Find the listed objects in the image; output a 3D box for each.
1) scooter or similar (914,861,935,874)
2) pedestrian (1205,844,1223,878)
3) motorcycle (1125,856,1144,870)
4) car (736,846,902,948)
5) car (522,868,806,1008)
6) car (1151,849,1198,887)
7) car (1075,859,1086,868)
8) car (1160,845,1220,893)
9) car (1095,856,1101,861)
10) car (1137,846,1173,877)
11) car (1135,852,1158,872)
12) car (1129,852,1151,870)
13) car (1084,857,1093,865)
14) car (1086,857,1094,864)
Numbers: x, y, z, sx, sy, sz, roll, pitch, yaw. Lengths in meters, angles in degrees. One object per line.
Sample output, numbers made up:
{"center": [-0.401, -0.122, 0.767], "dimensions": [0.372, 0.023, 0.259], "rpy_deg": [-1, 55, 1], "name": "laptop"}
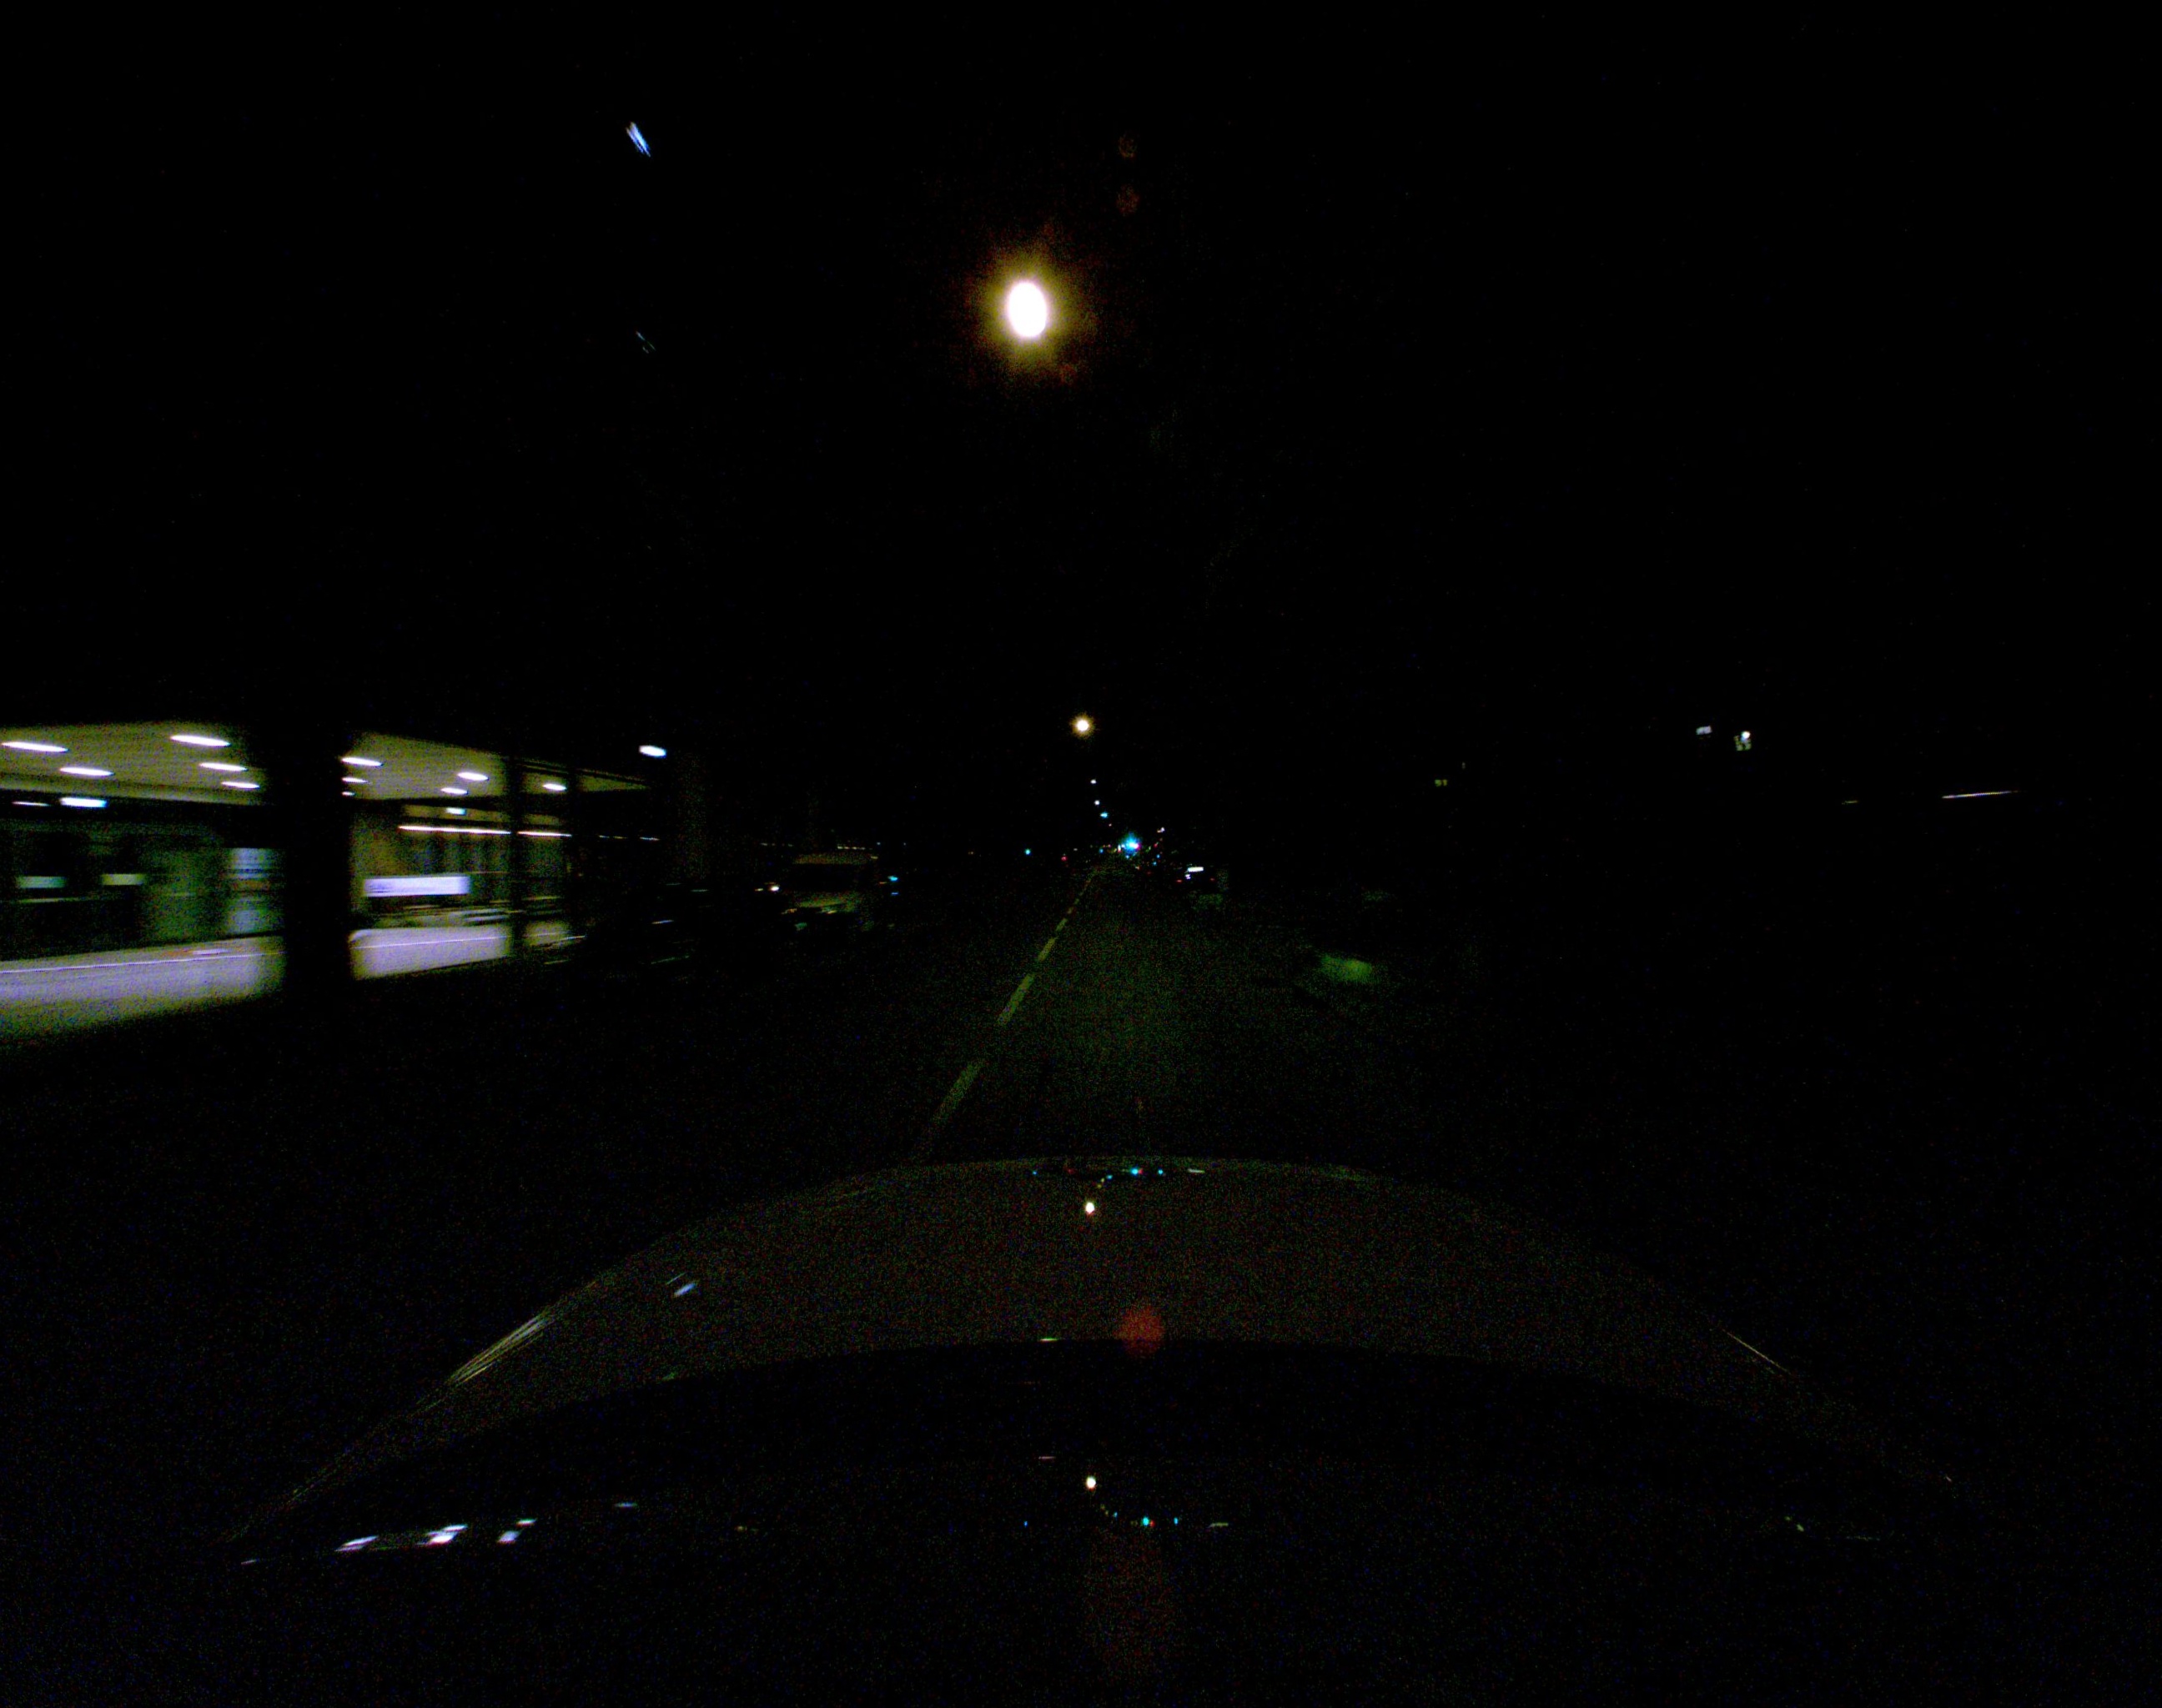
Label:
{"center": [-13.674, 1.178, 71.283], "dimensions": [1.667, 1.008, 0.545], "rpy_deg": [1, -1, 3], "name": "scooter or similar"}
{"center": [6.889, 0.384, 42.205], "dimensions": [0.703, 1.722, 0.822], "rpy_deg": [-2, -1, 2], "name": "pedestrian"}
{"center": [4.755, 0.790, 71.740], "dimensions": [0.630, 1.270, 2.077], "rpy_deg": [-1, -1, 36], "name": "motorcycle"}
{"center": [-5.142, 0.771, 16.647], "dimensions": [1.815, 1.811, 4.213], "rpy_deg": [0, 0, 3], "name": "car"}
{"center": [-5.197, 0.954, 10.800], "dimensions": [1.694, 1.433, 3.829], "rpy_deg": [1, 0, 1], "name": "car"}
{"center": [4.209, 0.613, 37.127], "dimensions": [1.845, 1.604, 4.213], "rpy_deg": [-1, 0, 3], "name": "car"}
{"center": [-0.027, 1.655, 139.389], "dimensions": [1.734, 1.416, 3.754], "rpy_deg": [-1, 0, 2], "name": "car"}
{"center": [4.140, 0.546, 31.452], "dimensions": [1.846, 1.654, 4.211], "rpy_deg": [-3, 0, 2], "name": "car"}
{"center": [5.103, 1.354, 238.621], "dimensions": [1.734, 1.416, 3.754], "rpy_deg": [-1, 0, 2], "name": "car"}
{"center": [4.641, 0.481, 51.605], "dimensions": [1.766, 1.807, 4.276], "rpy_deg": [-3, 0, -1], "name": "car"}
{"center": [5.475, 0.681, 68.433], "dimensions": [1.585, 1.534, 4.139], "rpy_deg": [-3, 0, 1], "name": "car"}
{"center": [5.461, 0.623, 75.717], "dimensions": [1.846, 1.590, 4.301], "rpy_deg": [-1, 0, 1], "name": "car"}
{"center": [1.431, 1.308, 154.210], "dimensions": [1.734, 1.416, 3.754], "rpy_deg": [-1, 1, 2], "name": "car"}
{"center": [2.018, 1.456, 182.668], "dimensions": [1.734, 1.416, 3.754], "rpy_deg": [-1, 0, 2], "name": "car"}
